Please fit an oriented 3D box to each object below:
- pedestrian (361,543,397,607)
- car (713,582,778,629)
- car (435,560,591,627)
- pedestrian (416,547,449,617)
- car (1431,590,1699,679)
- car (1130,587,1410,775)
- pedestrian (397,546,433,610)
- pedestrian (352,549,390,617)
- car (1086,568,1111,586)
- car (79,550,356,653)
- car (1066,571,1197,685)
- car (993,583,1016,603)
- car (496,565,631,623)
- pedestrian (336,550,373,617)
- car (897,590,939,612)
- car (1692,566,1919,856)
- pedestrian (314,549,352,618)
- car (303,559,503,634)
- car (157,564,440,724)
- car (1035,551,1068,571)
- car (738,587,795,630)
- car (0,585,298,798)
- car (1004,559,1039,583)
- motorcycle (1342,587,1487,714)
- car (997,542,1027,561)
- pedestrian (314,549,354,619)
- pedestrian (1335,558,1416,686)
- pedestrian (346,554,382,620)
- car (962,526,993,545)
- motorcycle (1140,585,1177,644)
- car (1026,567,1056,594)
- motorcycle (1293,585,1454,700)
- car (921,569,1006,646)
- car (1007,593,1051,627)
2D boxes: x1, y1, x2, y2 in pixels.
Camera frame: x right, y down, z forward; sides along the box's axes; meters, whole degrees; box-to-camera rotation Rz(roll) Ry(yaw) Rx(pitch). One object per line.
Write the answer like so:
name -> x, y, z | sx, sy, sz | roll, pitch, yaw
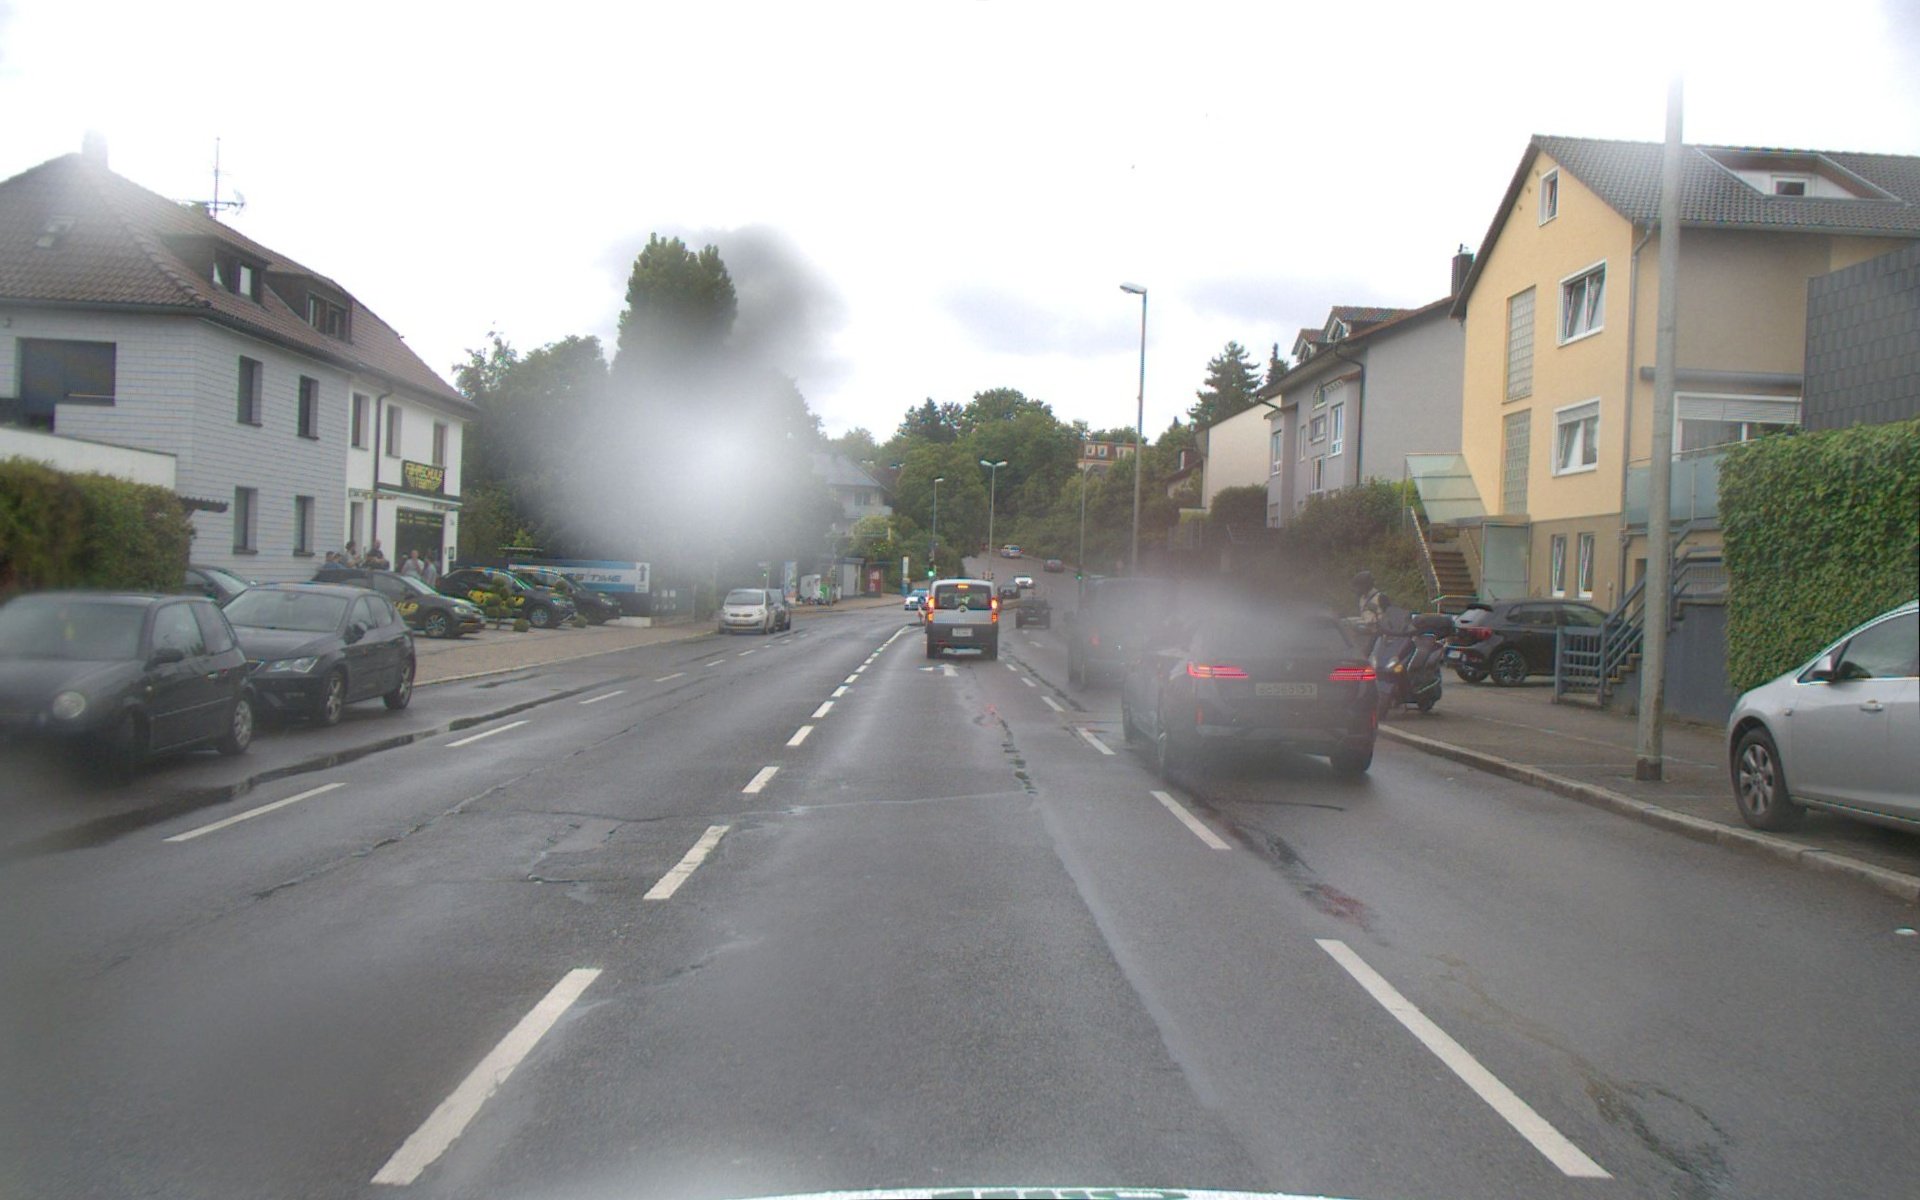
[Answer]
pedestrian -> -15.906, -0.691, 45.284 | 0.588, 1.694, 0.650 | 4, 0, 4
car -> -7.748, 0.182, 60.085 | 1.846, 1.612, 4.000 | 1, 0, -1
car -> -13.135, -0.188, 48.764 | 3.991, 1.542, 1.855 | 5, 0, -1
pedestrian -> -14.146, -0.488, 44.366 | 0.589, 1.821, 0.649 | 4, 0, -6
car -> 10.298, 0.576, 28.331 | 3.907, 1.458, 1.868 | 0, 0, -3
car -> 2.782, 0.666, 15.735 | 1.952, 1.509, 4.000 | 1, 0, 1
pedestrian -> -14.855, -0.595, 45.107 | 0.588, 1.694, 0.650 | 4, 0, 7
pedestrian -> -15.120, -0.435, 42.444 | 0.588, 1.694, 0.650 | 4, 0, 4
car -> 13.388, -2.240, 159.924 | 1.953, 1.612, 4.000 | 1, 0, -1
car -> -12.832, 0.023, 28.782 | 3.906, 1.542, 1.855 | 3, 0, -1
car -> 2.903, 0.454, 28.743 | 1.801, 1.798, 4.000 | 1, 0, 0
car -> 3.944, -0.639, 146.950 | 1.953, 1.803, 4.000 | 0, 0, -1
car -> -13.313, -0.201, 55.696 | 3.991, 1.542, 1.855 | 5, 0, -1
pedestrian -> -15.890, -0.425, 43.388 | 0.588, 1.694, 0.650 | 4, 0, 4
car -> -3.123, 0.058, 124.144 | 1.951, 1.574, 4.399 | 1, 0, 15
car -> 5.924, 0.609, 9.127 | 1.666, 1.536, 4.533 | 1, 0, -1
pedestrian -> -15.873, -0.421, 41.885 | 0.588, 1.694, 0.650 | 4, 0, 4
car -> -13.013, -0.081, 38.796 | 3.990, 1.542, 1.855 | 3, 0, -1
car -> -7.313, 0.438, 18.738 | 1.722, 1.559, 4.205 | 1, 0, -4
car -> 10.679, -4.570, 193.226 | 2.477, 2.048, 5.595 | 1, 3, -11
car -> -7.779, 0.336, 66.759 | 1.846, 1.612, 4.000 | 1, 0, -1
car -> -6.857, 0.626, 13.467 | 1.520, 1.456, 4.011 | 1, 0, -4
car -> 6.245, -2.924, 167.970 | 2.475, 2.048, 5.599 | 2, 4, -9
motorcycle -> 5.651, 0.588, 20.504 | 0.808, 1.476, 2.074 | 1, 1, 45
car -> 6.672, -6.263, 213.969 | 2.478, 2.048, 5.593 | 1, 4, -13
pedestrian -> -15.518, -0.394, 41.027 | 0.588, 1.694, 0.650 | 4, 0, 4
pedestrian -> 5.530, 0.291, 22.029 | 0.819, 1.678, 0.618 | 1, 0, -24
pedestrian -> -15.944, -0.351, 44.245 | 0.588, 1.694, 0.650 | 4, 0, 4
car -> 2.405, -8.913, 227.407 | 2.482, 2.046, 5.586 | 2, 7, -18
motorcycle -> 5.274, 0.372, 44.123 | 0.689, 1.536, 2.150 | -1, 0, 0
car -> 7.086, -1.741, 145.326 | 2.469, 2.048, 5.611 | 2, 3, 1
motorcycle -> 5.503, 0.568, 22.001 | 2.056, 1.476, 0.753 | 1, 0, -26
car -> 0.064, 0.171, 40.867 | 1.953, 1.768, 4.000 | 1, 0, 0
car -> 3.431, 0.480, 82.802 | 1.953, 1.606, 3.999 | 1, 0, -1
